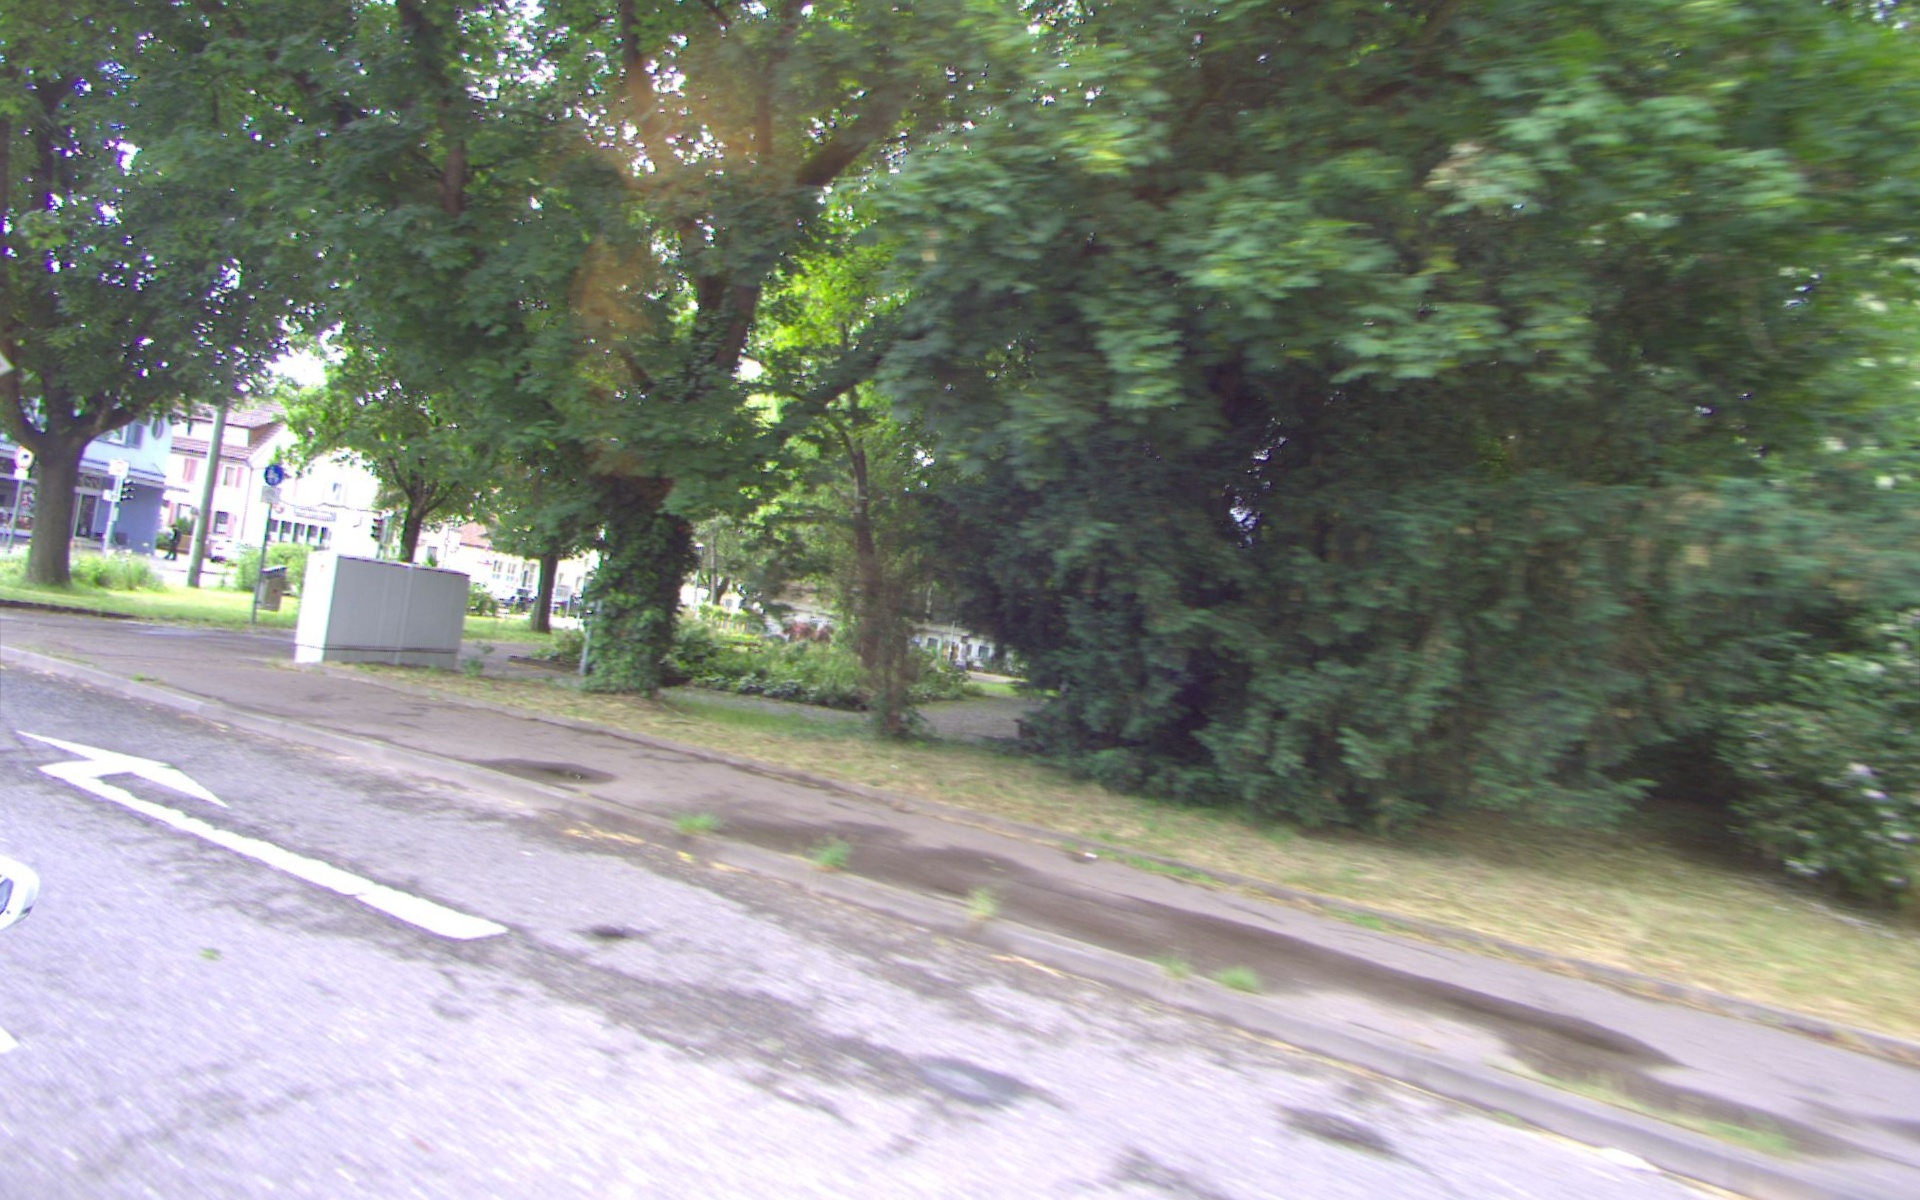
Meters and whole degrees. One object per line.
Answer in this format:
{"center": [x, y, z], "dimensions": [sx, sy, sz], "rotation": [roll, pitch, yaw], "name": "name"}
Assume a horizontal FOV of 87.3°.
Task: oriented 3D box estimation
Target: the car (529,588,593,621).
{"center": [-22.567, 0.308, 57.044], "dimensions": [1.618, 1.474, 3.739], "rotation": [8, -2, 8], "name": "car"}

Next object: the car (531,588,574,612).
{"center": [-31.288, 0.034, 77.378], "dimensions": [1.737, 1.464, 3.862], "rotation": [7, -2, -3], "name": "car"}

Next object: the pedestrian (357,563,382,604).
{"center": [-24.120, -0.667, 41.070], "dimensions": [0.689, 1.578, 0.661], "rotation": [8, -1, -32], "name": "pedestrian"}

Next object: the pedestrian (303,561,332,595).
{"center": [-22.087, -0.756, 34.571], "dimensions": [0.506, 1.093, 0.507], "rotation": [7, -1, 12], "name": "pedestrian"}

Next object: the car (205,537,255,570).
{"center": [-38.947, -2.503, 53.733], "dimensions": [1.874, 1.406, 3.582], "rotation": [9, -2, -33], "name": "car"}

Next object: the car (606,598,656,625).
{"center": [-22.255, 0.791, 68.222], "dimensions": [1.618, 1.474, 3.739], "rotation": [8, -2, 8], "name": "car"}

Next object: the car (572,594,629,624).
{"center": [-22.143, 0.563, 62.077], "dimensions": [1.618, 1.474, 3.739], "rotation": [8, -2, 8], "name": "car"}

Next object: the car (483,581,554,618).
{"center": [-22.769, 0.001, 52.060], "dimensions": [1.618, 1.474, 3.478], "rotation": [8, -2, 8], "name": "car"}

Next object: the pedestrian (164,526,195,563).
{"center": [-36.352, -2.559, 46.851], "dimensions": [0.732, 1.578, 0.673], "rotation": [7, -1, 12], "name": "pedestrian"}
